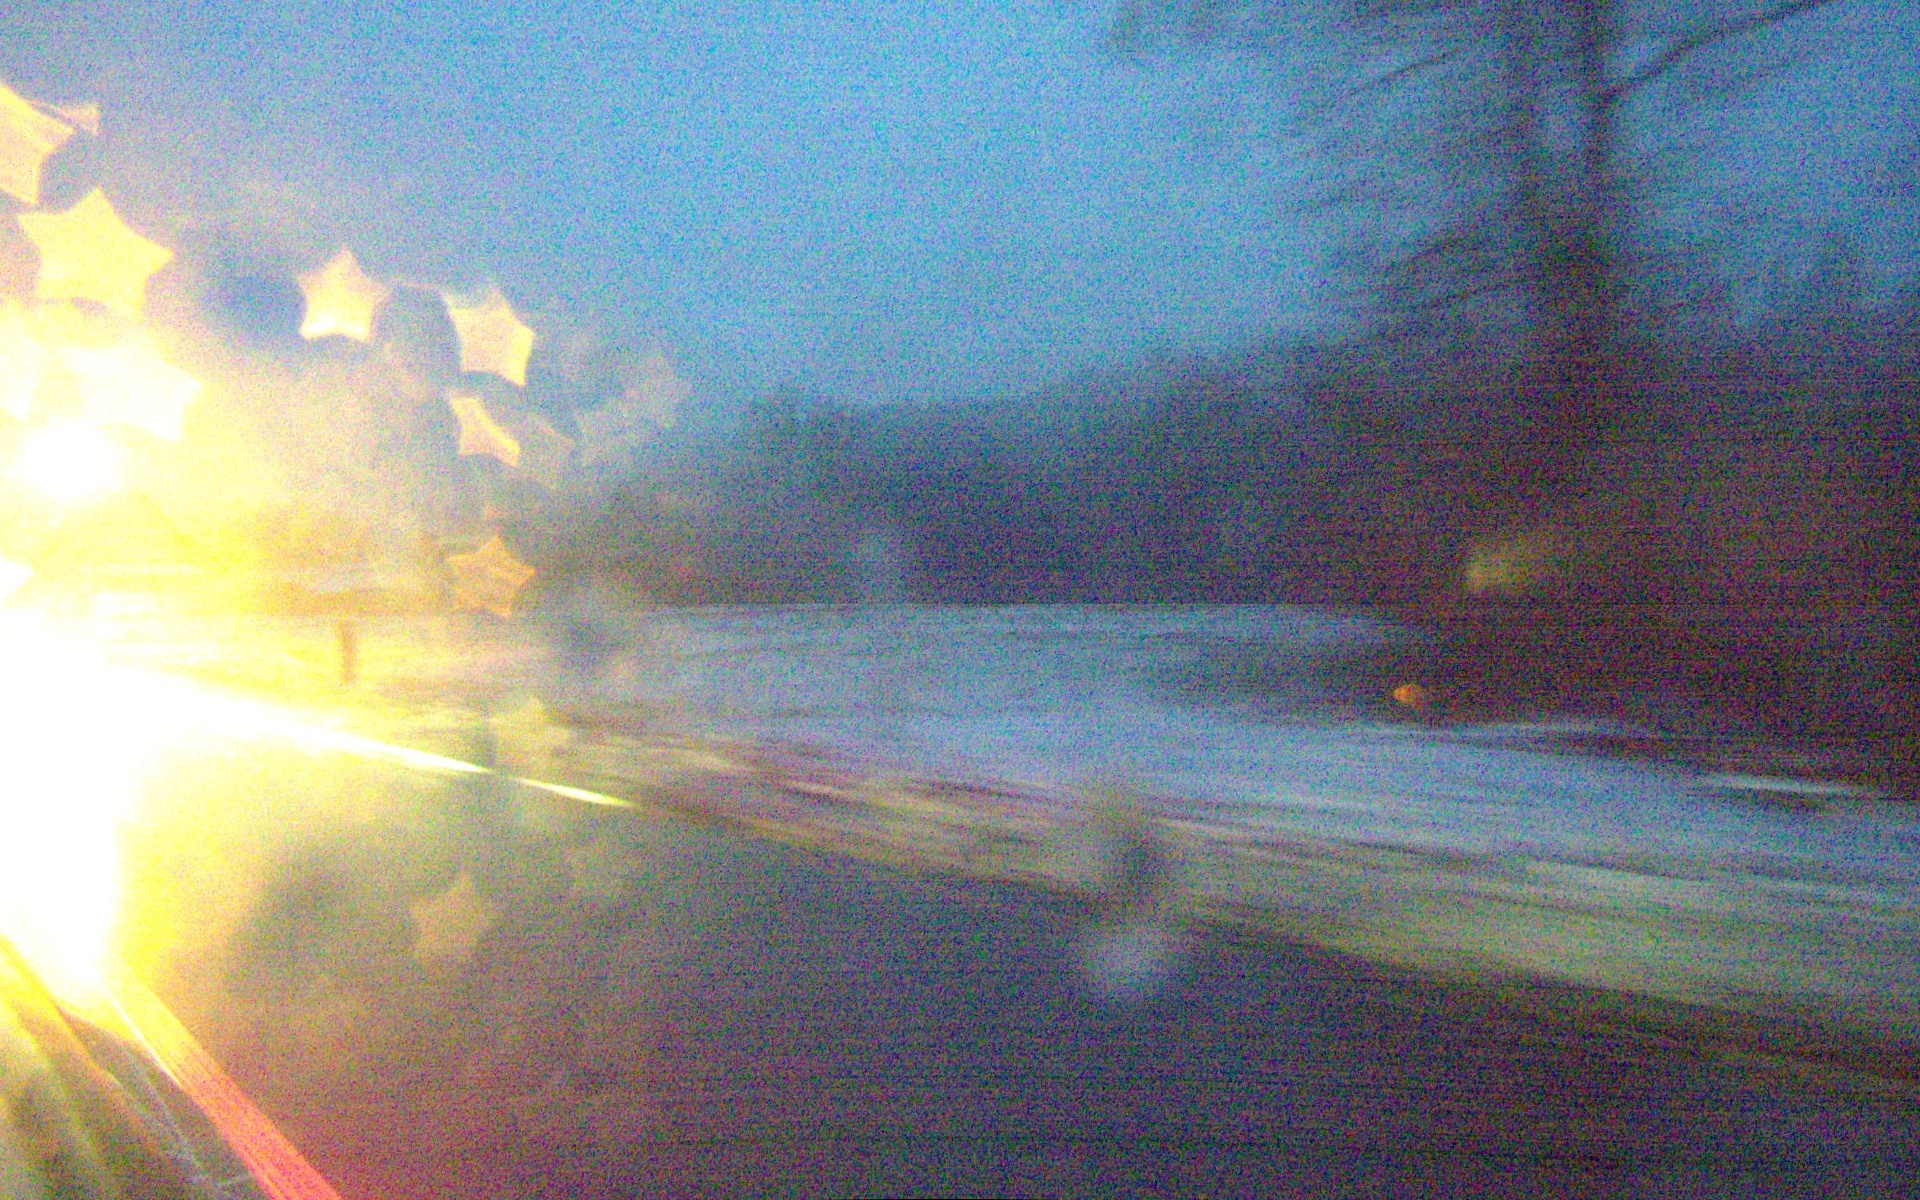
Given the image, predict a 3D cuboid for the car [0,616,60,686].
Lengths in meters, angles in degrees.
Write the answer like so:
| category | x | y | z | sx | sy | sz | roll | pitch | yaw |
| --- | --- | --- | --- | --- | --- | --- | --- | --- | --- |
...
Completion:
| category | x | y | z | sx | sy | sz | roll | pitch | yaw |
| --- | --- | --- | --- | --- | --- | --- | --- | --- | --- |
| car | -22.924 | 1.172 | 24.037 | 4.203 | 1.486 | 1.894 | 0 | 1 | 43 |
